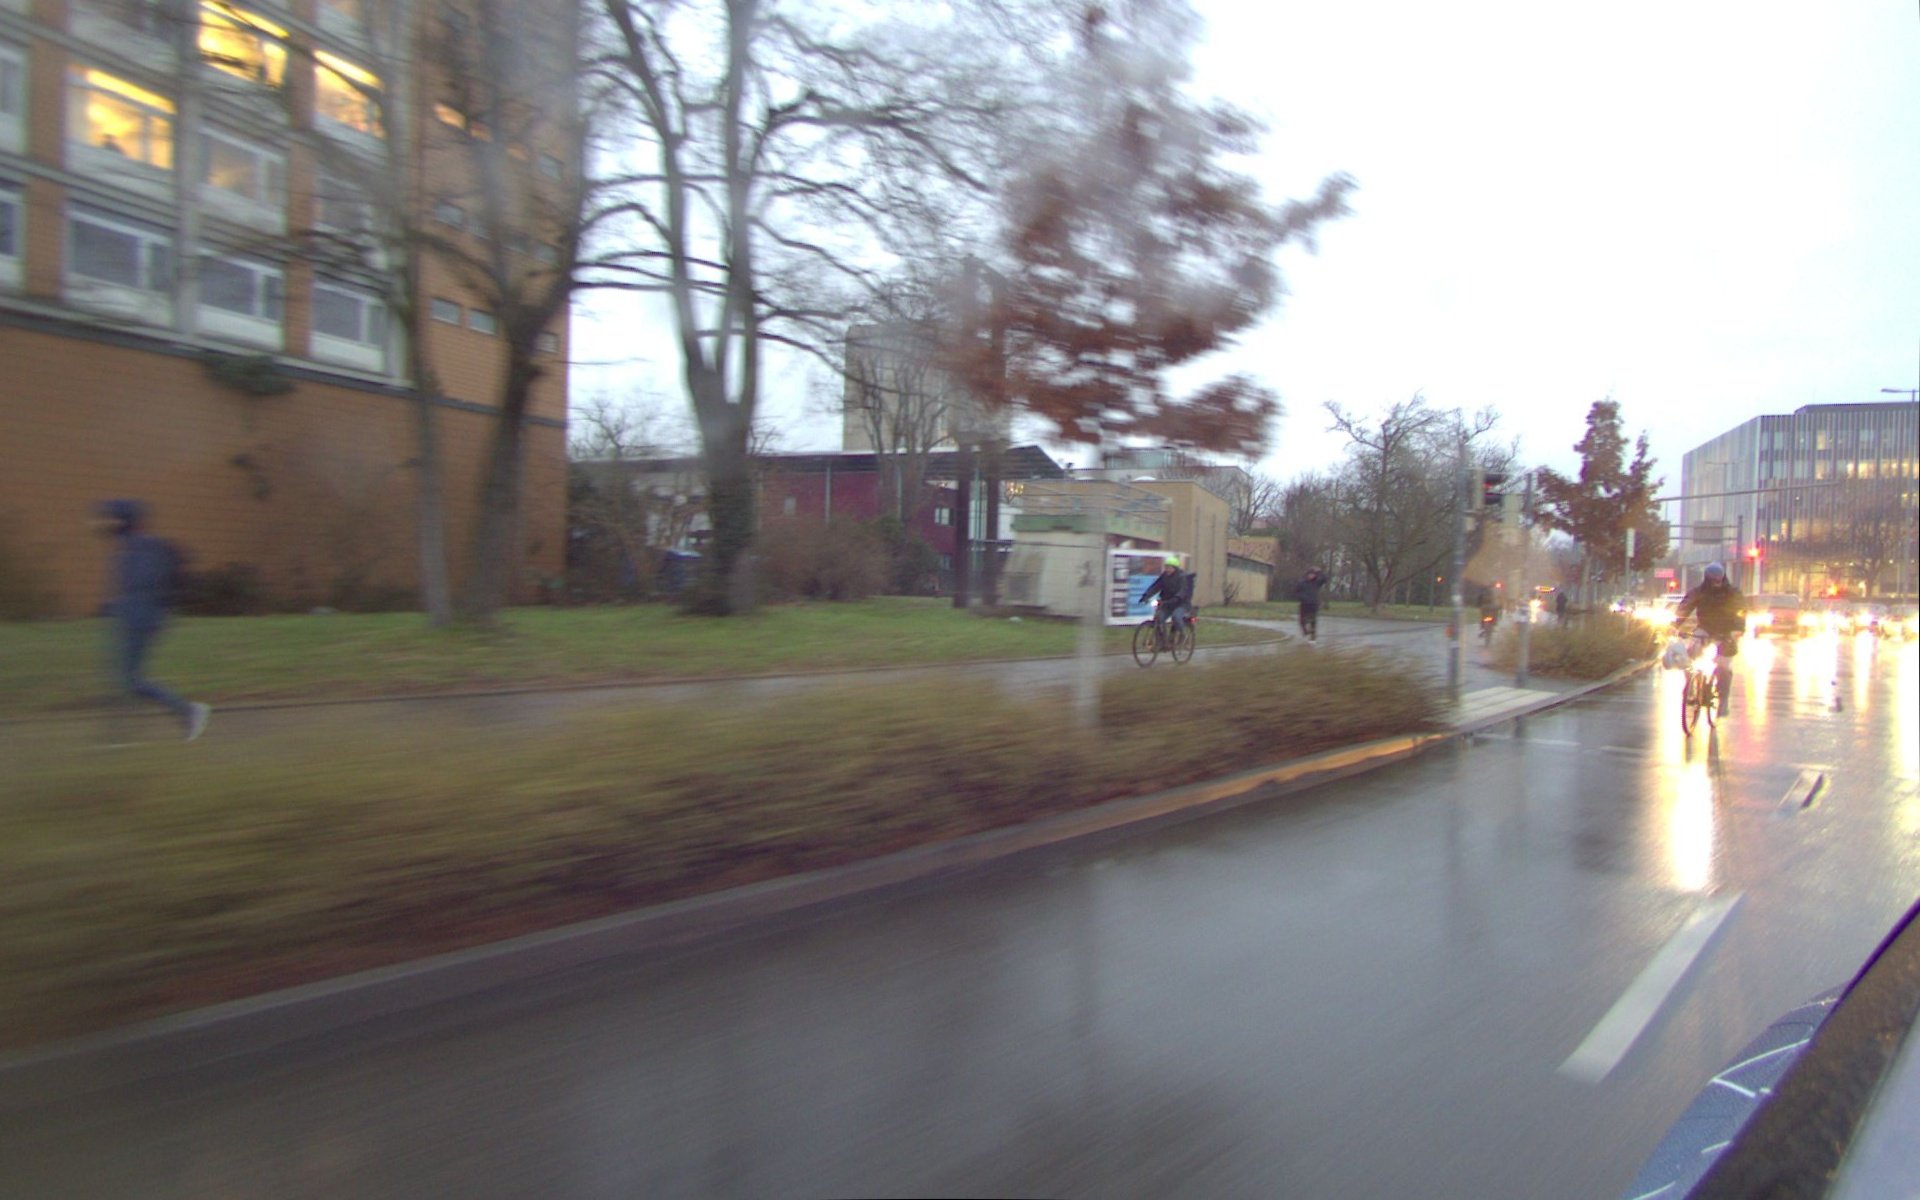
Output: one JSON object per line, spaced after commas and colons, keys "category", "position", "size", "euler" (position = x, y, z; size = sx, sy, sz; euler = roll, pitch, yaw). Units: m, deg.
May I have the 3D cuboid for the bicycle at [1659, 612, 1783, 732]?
{"category": "bicycle", "position": [8.794, 0.776, 11.663], "size": [1.871, 1.238, 0.793], "euler": [0, 0, -42]}

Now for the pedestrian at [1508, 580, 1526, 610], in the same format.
{"category": "pedestrian", "position": [36.023, -0.341, 65.495], "size": [0.925, 1.848, 0.826], "euler": [3, 2, 29]}

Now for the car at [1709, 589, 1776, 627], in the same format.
{"category": "car", "position": [40.033, 0.360, 51.875], "size": [1.983, 1.771, 4.426], "euler": [3, 2, 29]}

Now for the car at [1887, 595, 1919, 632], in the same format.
{"category": "car", "position": [39.532, 0.572, 40.947], "size": [1.915, 1.393, 4.453], "euler": [3, 2, 29]}

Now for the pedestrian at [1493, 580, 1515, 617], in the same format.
{"category": "pedestrian", "position": [28.350, -0.083, 52.719], "size": [0.925, 1.848, 0.826], "euler": [3, 2, 29]}

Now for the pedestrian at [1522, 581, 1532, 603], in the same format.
{"category": "pedestrian", "position": [52.240, -0.747, 93.251], "size": [0.759, 2.038, 0.765], "euler": [2, 2, 28]}

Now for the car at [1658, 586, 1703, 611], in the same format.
{"category": "car", "position": [50.785, -0.114, 71.430], "size": [1.983, 1.586, 4.714], "euler": [4, 3, 29]}

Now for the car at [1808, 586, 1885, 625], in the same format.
{"category": "car", "position": [46.410, 0.258, 53.076], "size": [1.983, 1.770, 4.426], "euler": [5, 3, 29]}

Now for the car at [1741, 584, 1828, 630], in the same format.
{"category": "car", "position": [35.849, 0.250, 44.143], "size": [1.983, 1.771, 4.896], "euler": [3, 2, 29]}

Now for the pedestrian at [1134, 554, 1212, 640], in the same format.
{"category": "pedestrian", "position": [3.432, -0.061, 16.303], "size": [0.834, 1.333, 0.875], "euler": [0, 2, -45]}

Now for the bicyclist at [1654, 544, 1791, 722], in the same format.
{"category": "bicyclist", "position": [8.761, 0.345, 11.627], "size": [1.214, 1.907, 1.025], "euler": [1, 0, -41]}

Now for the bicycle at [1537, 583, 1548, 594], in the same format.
{"category": "bicycle", "position": [54.596, -1.077, 94.895], "size": [0.788, 1.028, 2.873], "euler": [2, 1, 29]}

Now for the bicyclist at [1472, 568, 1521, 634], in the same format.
{"category": "bicyclist", "position": [14.203, 0.015, 26.805], "size": [0.803, 1.637, 1.069], "euler": [6, 4, 41]}

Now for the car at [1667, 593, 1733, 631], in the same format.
{"category": "car", "position": [32.992, 0.485, 45.215], "size": [1.759, 1.505, 4.426], "euler": [3, 2, 29]}

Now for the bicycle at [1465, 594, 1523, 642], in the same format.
{"category": "bicycle", "position": [14.138, 0.467, 26.785], "size": [0.803, 1.155, 2.180], "euler": [6, 4, 41]}

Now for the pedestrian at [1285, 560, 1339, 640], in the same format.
{"category": "pedestrian", "position": [7.930, 0.009, 22.795], "size": [0.905, 1.708, 0.918], "euler": [4, 1, 29]}

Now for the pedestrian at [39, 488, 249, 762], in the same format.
{"category": "pedestrian", "position": [-5.606, 0.128, 6.955], "size": [1.053, 1.708, 0.808], "euler": [0, 3, -44]}

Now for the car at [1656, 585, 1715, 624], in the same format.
{"category": "car", "position": [36.564, 0.189, 51.077], "size": [1.984, 1.860, 3.957], "euler": [2, 2, 31]}

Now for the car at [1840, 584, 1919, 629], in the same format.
{"category": "car", "position": [43.548, 0.269, 47.685], "size": [1.985, 1.769, 4.426], "euler": [10, 6, 28]}

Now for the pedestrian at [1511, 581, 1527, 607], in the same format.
{"category": "pedestrian", "position": [39.908, -0.429, 72.266], "size": [0.925, 1.848, 0.826], "euler": [3, 2, 29]}

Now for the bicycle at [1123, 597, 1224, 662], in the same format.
{"category": "bicycle", "position": [3.480, 0.450, 16.360], "size": [0.562, 0.958, 2.062], "euler": [3, 3, 44]}

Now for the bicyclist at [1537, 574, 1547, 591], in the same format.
{"category": "bicyclist", "position": [54.632, -1.639, 94.930], "size": [0.761, 1.508, 0.984], "euler": [2, 2, 30]}

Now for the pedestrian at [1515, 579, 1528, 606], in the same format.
{"category": "pedestrian", "position": [43.471, -0.576, 78.357], "size": [0.759, 2.038, 0.902], "euler": [2, 2, 28]}
